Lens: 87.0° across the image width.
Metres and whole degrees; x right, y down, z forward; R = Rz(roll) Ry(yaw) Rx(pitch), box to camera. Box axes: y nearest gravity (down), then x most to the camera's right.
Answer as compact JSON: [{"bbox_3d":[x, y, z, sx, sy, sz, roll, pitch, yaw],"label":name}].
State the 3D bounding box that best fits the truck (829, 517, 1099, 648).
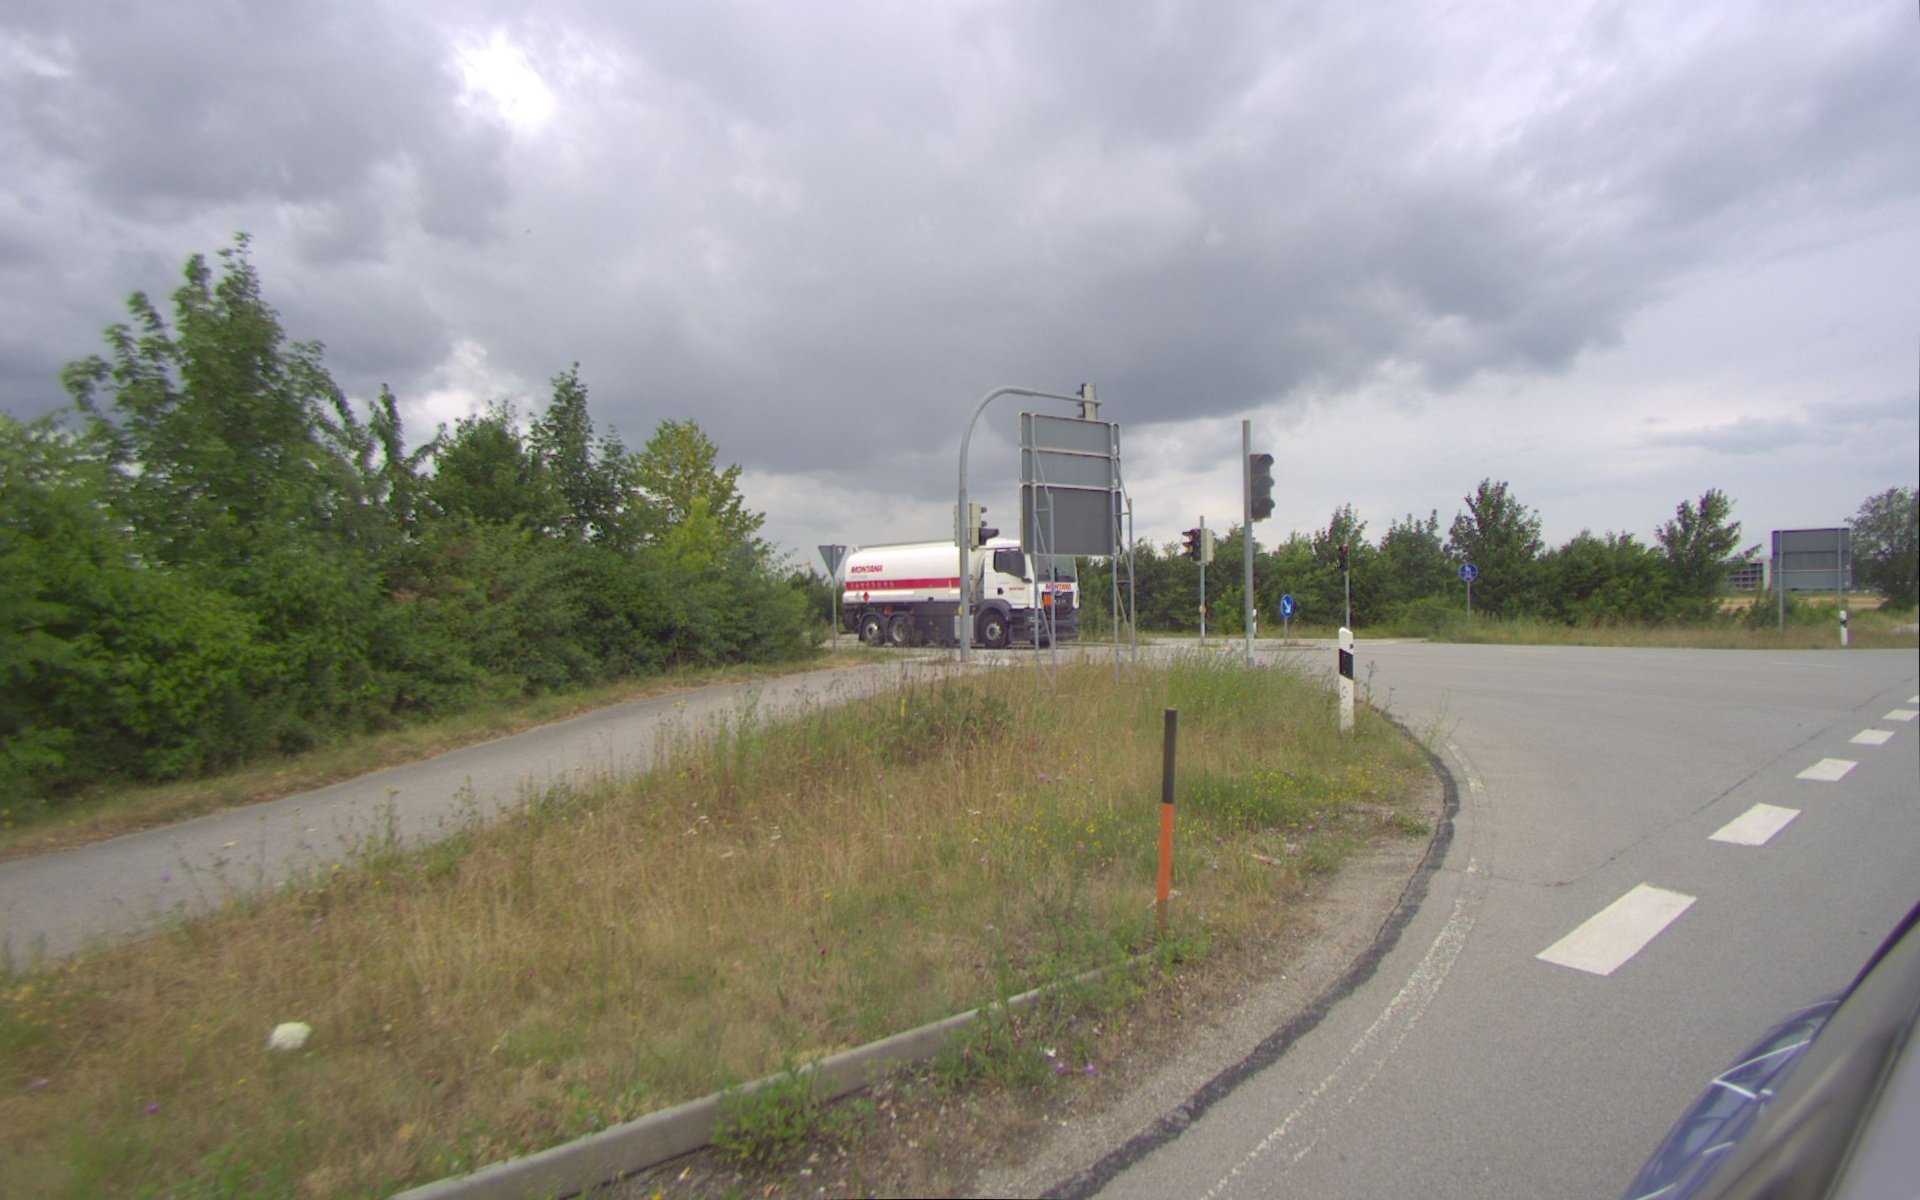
[{"bbox_3d":[-0.136,-0.437,30.706,8.621,3.451,2.834,-1,0,44],"label":"truck"}]
